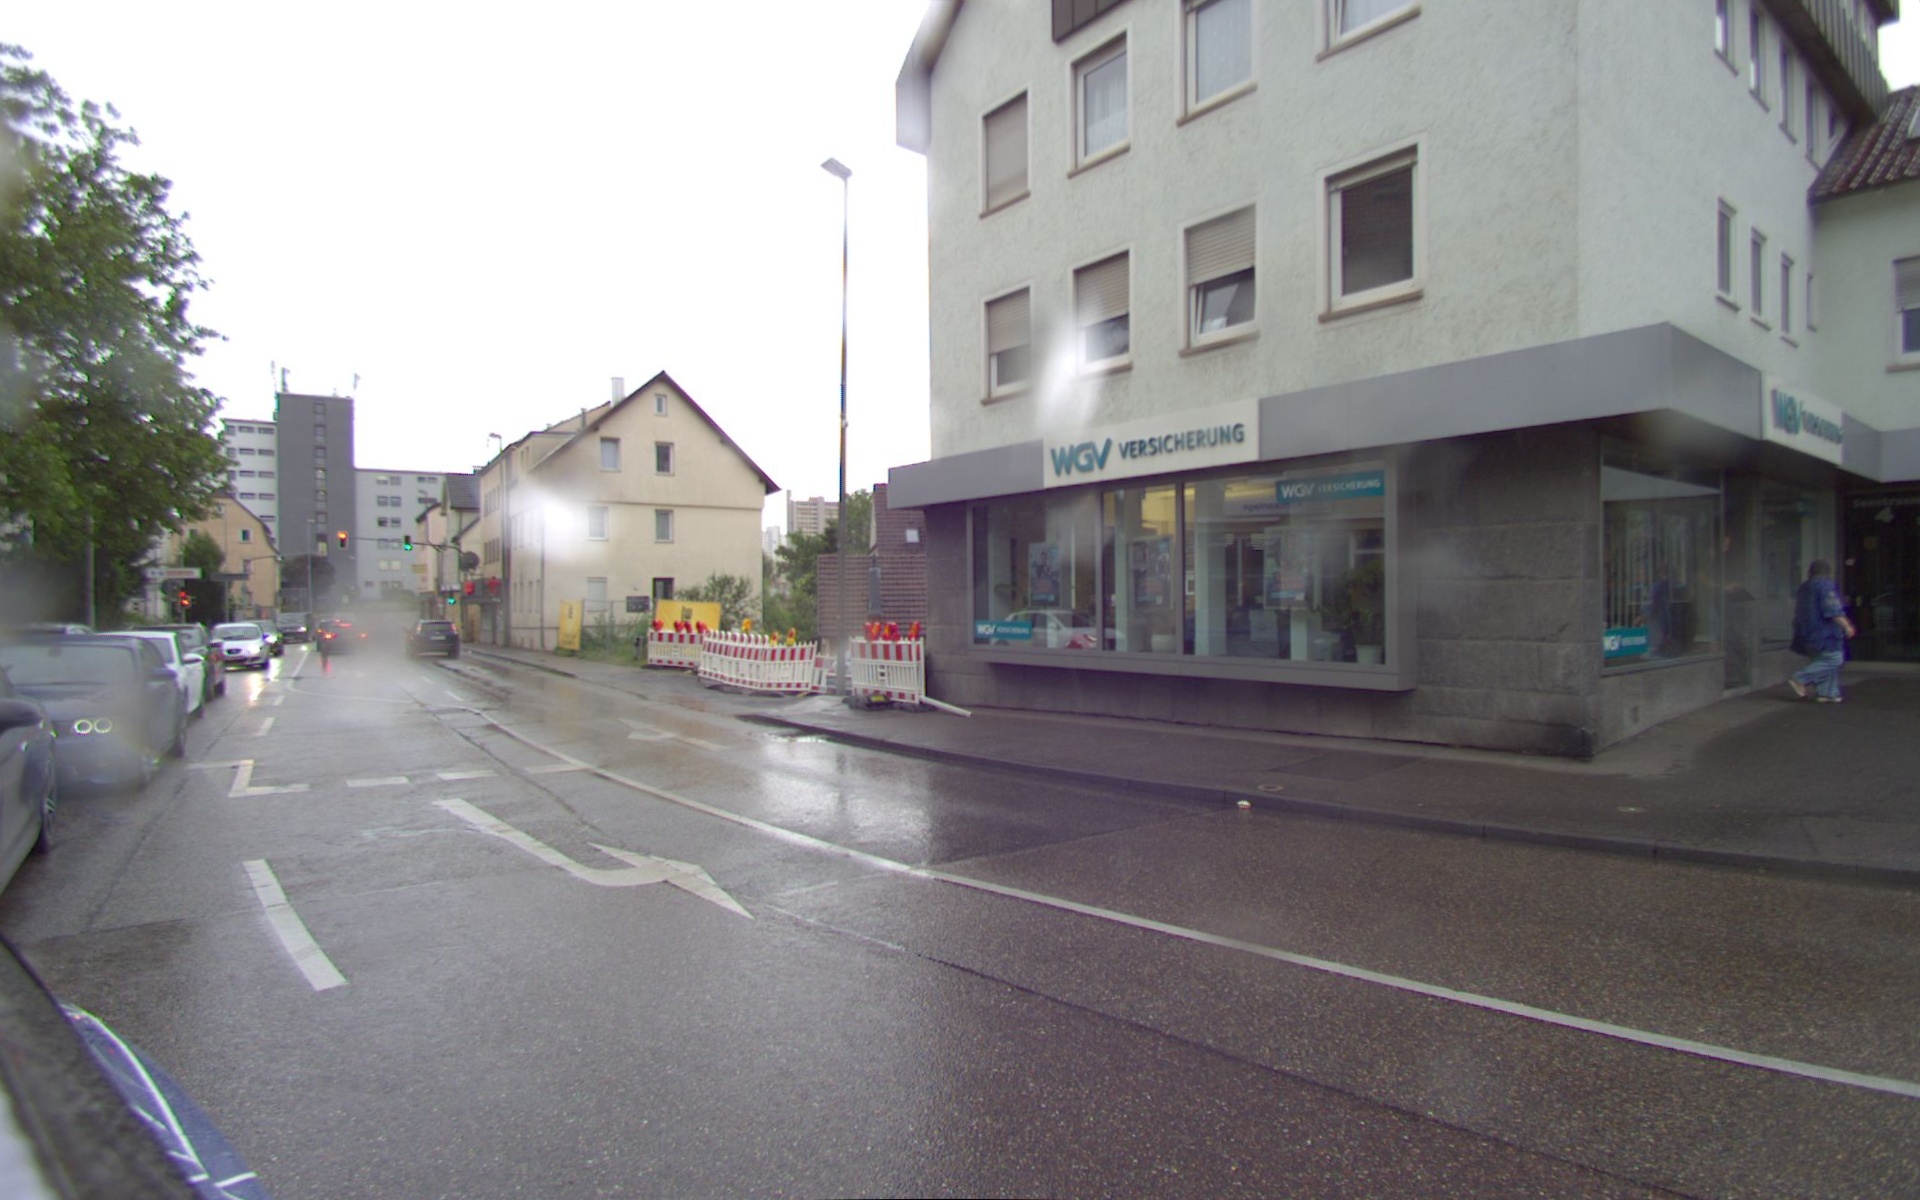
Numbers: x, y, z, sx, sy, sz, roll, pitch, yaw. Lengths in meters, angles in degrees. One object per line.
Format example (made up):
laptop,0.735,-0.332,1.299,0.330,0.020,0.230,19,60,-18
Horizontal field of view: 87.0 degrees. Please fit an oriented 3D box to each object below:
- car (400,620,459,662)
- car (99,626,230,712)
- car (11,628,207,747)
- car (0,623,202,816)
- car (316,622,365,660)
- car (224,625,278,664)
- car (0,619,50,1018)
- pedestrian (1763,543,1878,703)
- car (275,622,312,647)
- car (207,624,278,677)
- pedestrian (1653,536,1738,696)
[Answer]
car,-21.684,1.624,41.278,1.784,1.577,4.011,-1,-1,-32
car,-16.718,1.361,21.436,1.784,1.577,4.011,-1,-1,-33
car,-12.915,1.221,15.613,1.967,1.464,4.010,-2,0,-36
car,-8.930,1.034,10.182,1.745,1.544,4.390,-1,-1,-33
car,-28.105,1.824,45.885,1.784,1.577,4.011,-1,-1,-33
car,-31.663,1.979,45.292,1.803,1.563,4.011,-3,0,-33
car,-5.768,0.885,4.828,1.969,1.504,4.320,-1,-1,-40
pedestrian,9.515,0.246,11.197,0.608,1.684,0.863,-2,0,-44
car,-43.077,2.206,65.372,1.824,1.489,4.010,-1,-1,-35
car,-24.209,1.648,34.103,1.816,1.633,4.008,-1,-1,-37
pedestrian,8.760,0.181,12.054,0.608,1.833,0.673,-2,0,-44
